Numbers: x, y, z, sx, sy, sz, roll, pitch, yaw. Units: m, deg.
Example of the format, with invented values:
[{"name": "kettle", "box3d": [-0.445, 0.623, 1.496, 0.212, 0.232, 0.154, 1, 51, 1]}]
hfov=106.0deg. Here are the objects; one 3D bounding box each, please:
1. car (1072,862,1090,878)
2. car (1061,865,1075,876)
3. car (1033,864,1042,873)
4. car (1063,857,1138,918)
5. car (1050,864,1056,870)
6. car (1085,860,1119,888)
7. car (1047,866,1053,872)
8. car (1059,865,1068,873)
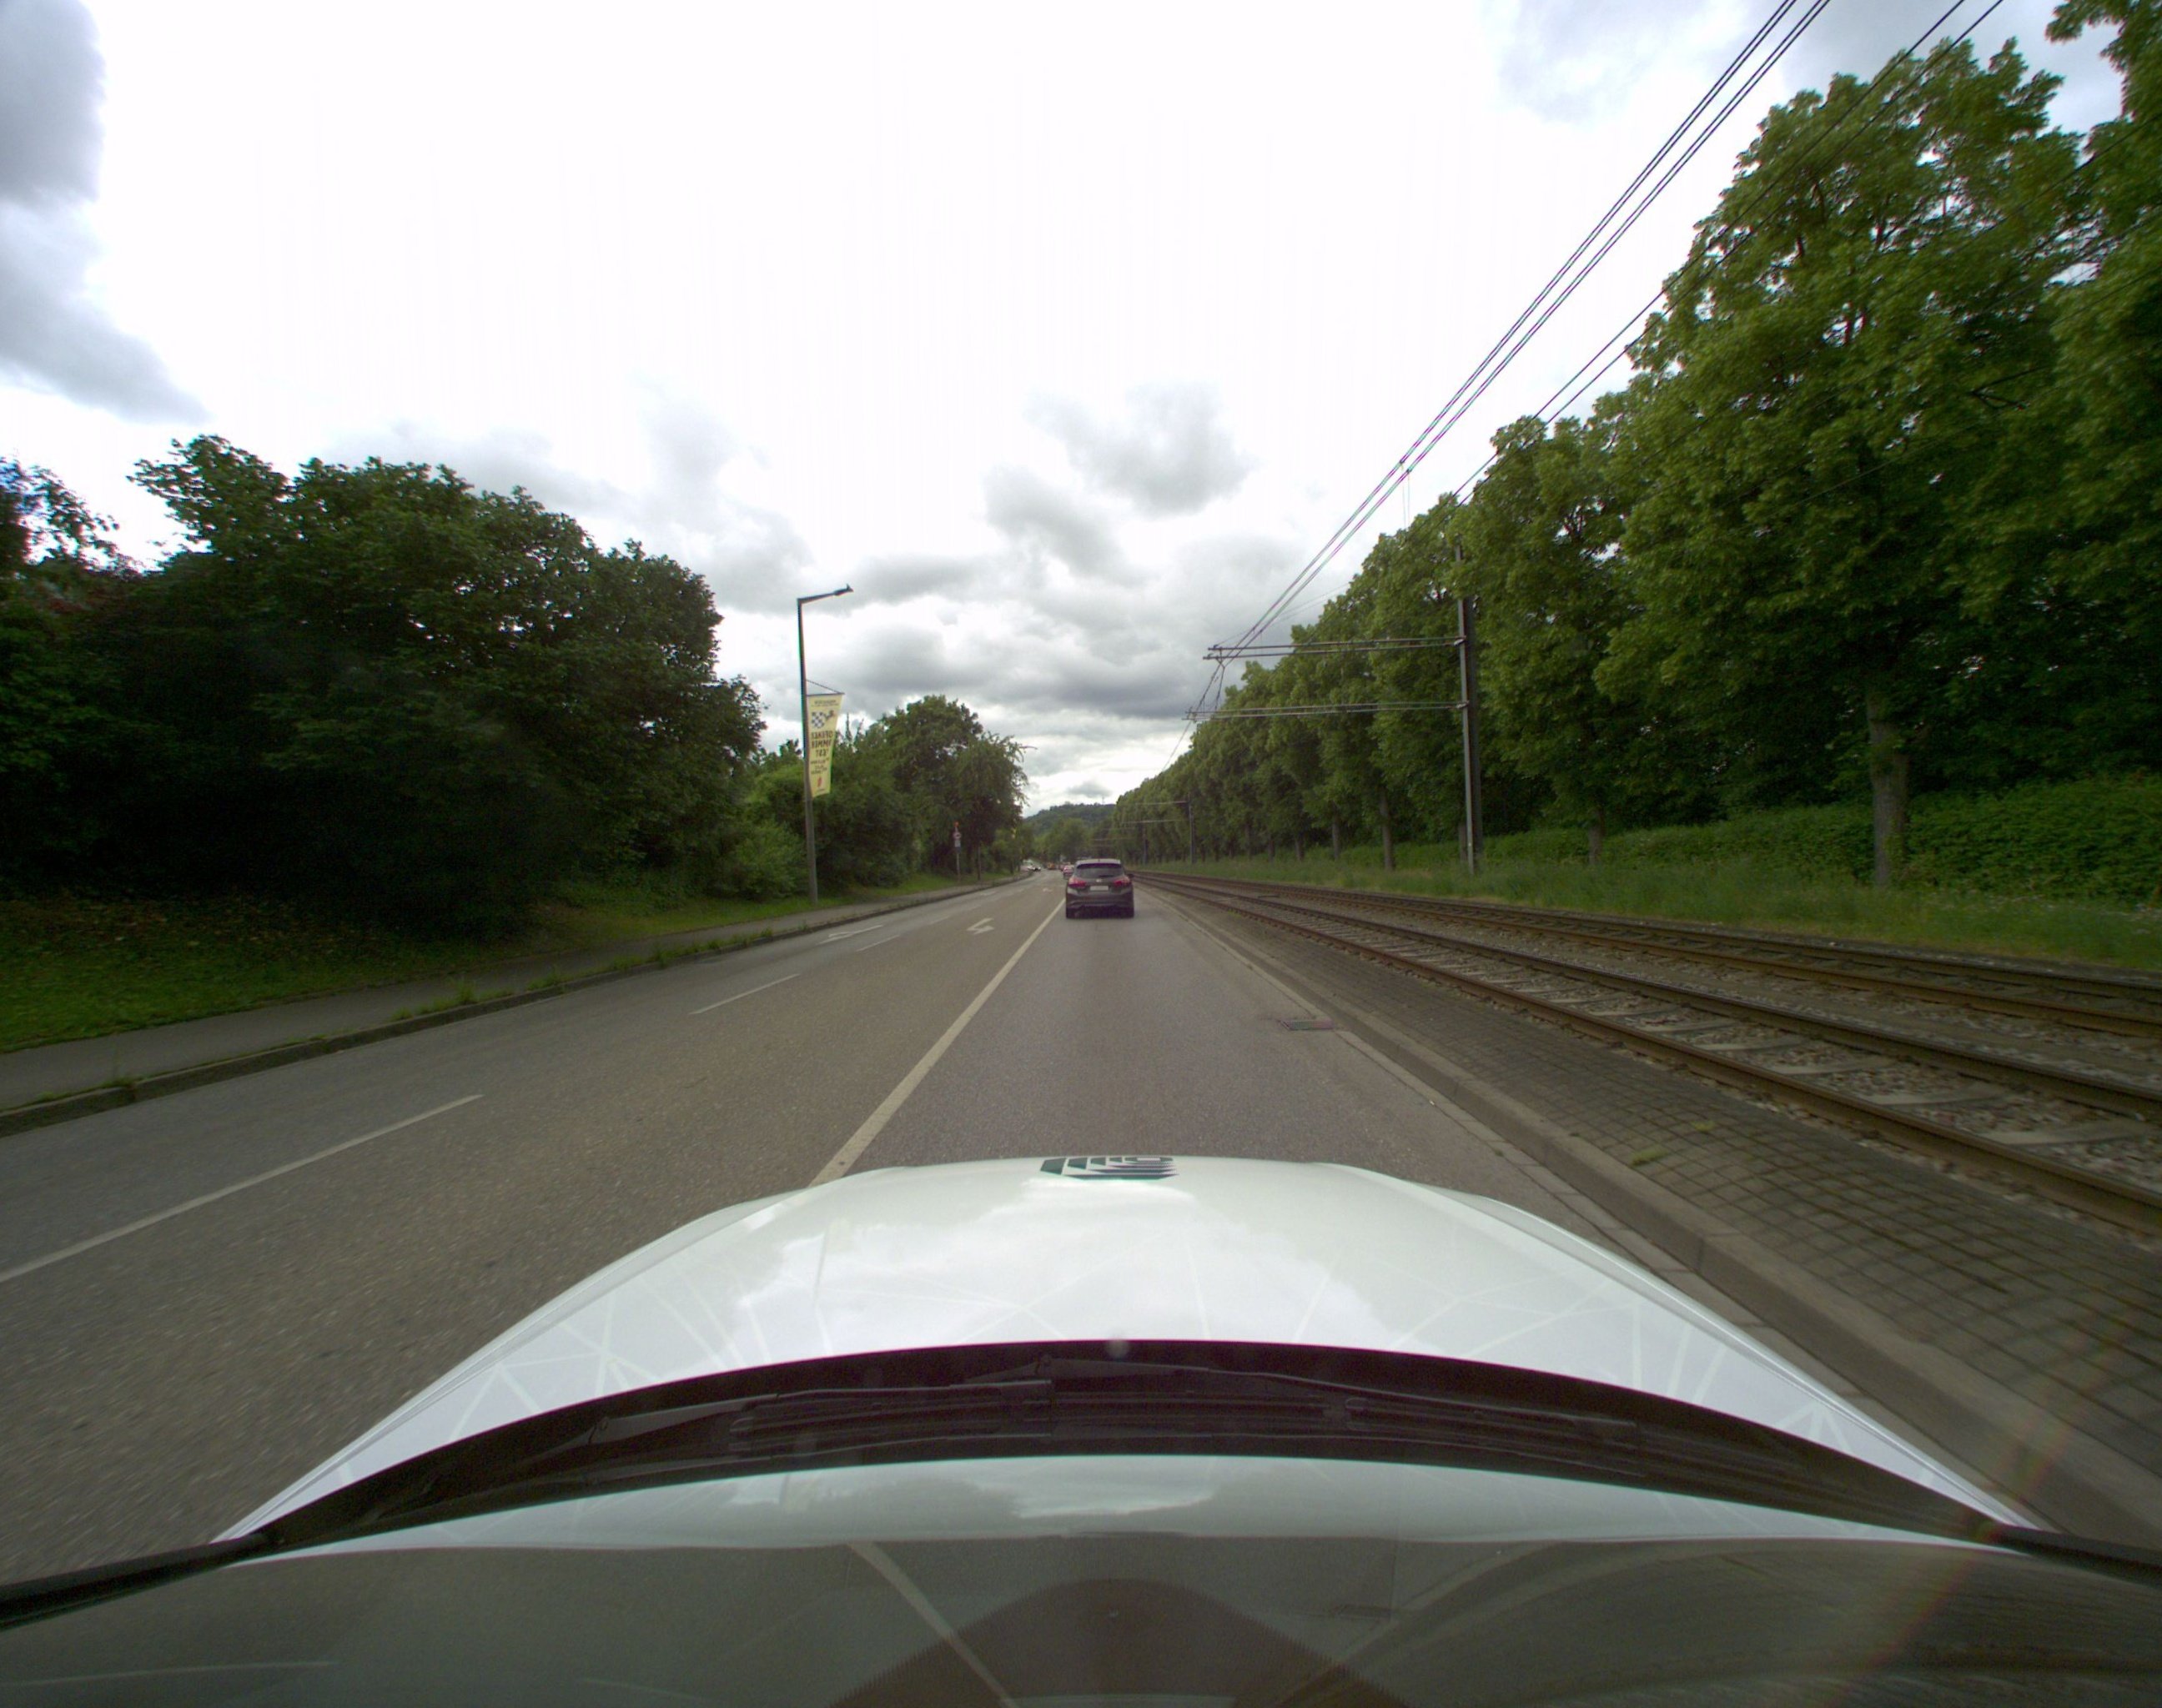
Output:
[{"name": "car", "box3d": [0.014, 1.546, 78.672, 1.694, 1.444, 3.999, -1, -1, 0]}, {"name": "car", "box3d": [-1.770, 2.231, 112.331, 1.694, 1.444, 3.999, -1, -1, 0]}, {"name": "car", "box3d": [-11.523, 3.833, 215.583, 1.988, 2.036, 5.111, -2, -1, -2]}, {"name": "car", "box3d": [0.533, 0.837, 22.286, 1.844, 1.493, 4.001, -1, 0, 1]}, {"name": "car", "box3d": [-8.339, 3.934, 242.584, 1.694, 1.714, 3.999, -1, -1, 0]}, {"name": "car", "box3d": [1.129, 1.077, 45.207, 1.695, 1.444, 3.998, -1, -1, -1]}, {"name": "car", "box3d": [-9.647, 4.751, 257.304, 1.694, 1.714, 3.999, -1, -1, 0]}, {"name": "car", "box3d": [-3.756, 3.268, 176.452, 1.788, 1.510, 3.999, -1, -1, 0]}]
